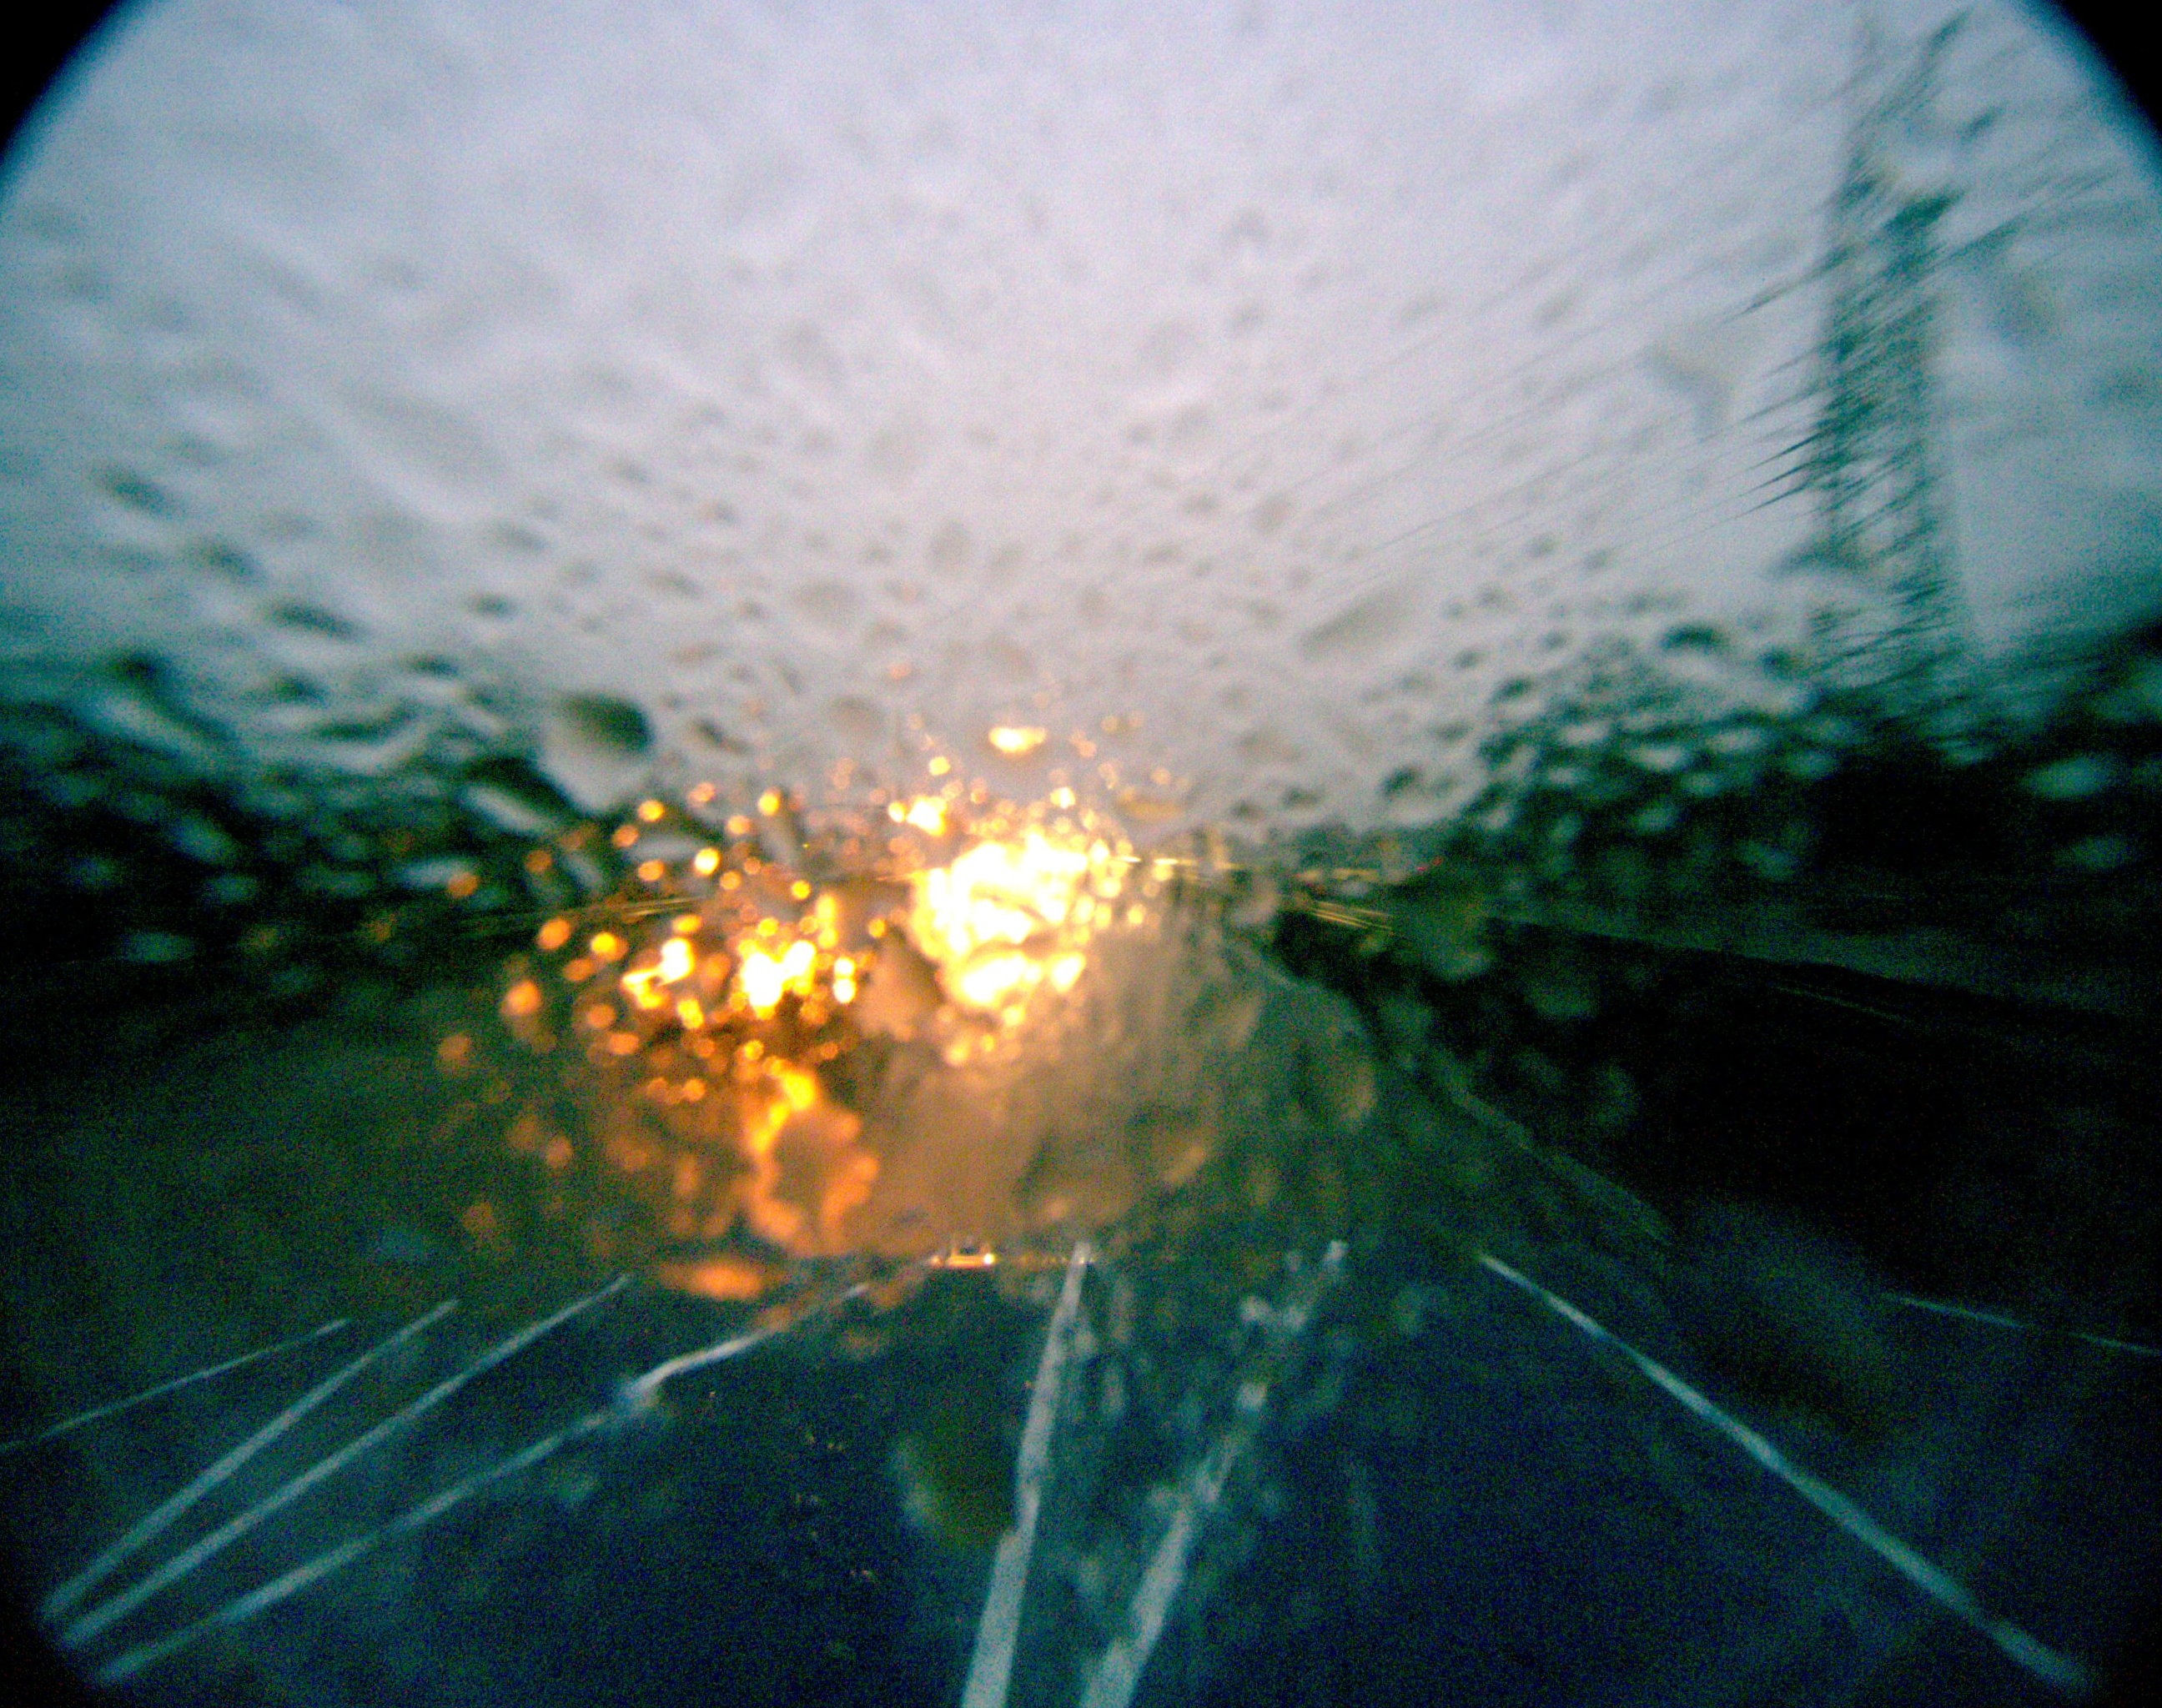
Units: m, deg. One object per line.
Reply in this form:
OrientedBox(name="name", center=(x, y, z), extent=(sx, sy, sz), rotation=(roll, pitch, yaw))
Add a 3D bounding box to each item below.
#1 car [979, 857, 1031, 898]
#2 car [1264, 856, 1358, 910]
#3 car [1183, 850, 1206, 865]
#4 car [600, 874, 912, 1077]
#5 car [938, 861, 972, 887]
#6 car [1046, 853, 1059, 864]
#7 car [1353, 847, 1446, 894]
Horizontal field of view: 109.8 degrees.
OrientedBox(name="car", center=(-3.050, 0.914, 31.231), extent=(1.682, 1.500, 3.808), rotation=(-1, 0, 1))
OrientedBox(name="car", center=(7.556, 0.884, 25.408), extent=(1.702, 1.497, 4.409), rotation=(4, 0, 0))
OrientedBox(name="car", center=(12.109, 0.362, 81.384), extent=(1.801, 1.562, 4.753), rotation=(-1, 0, 0))
OrientedBox(name="car", center=(-2.988, 1.017, 7.856), extent=(1.598, 1.482, 3.594), rotation=(-1, 0, 1))
OrientedBox(name="car", center=(-7.599, 1.190, 46.111), extent=(1.793, 1.426, 3.818), rotation=(-1, 0, -7))
OrientedBox(name="car", center=(-4.062, 0.608, 109.234), extent=(1.802, 1.494, 3.999), rotation=(-2, 1, -1))
OrientedBox(name="car", center=(11.968, 0.561, 28.849), extent=(1.998, 1.572, 4.000), rotation=(-2, 1, 2))
